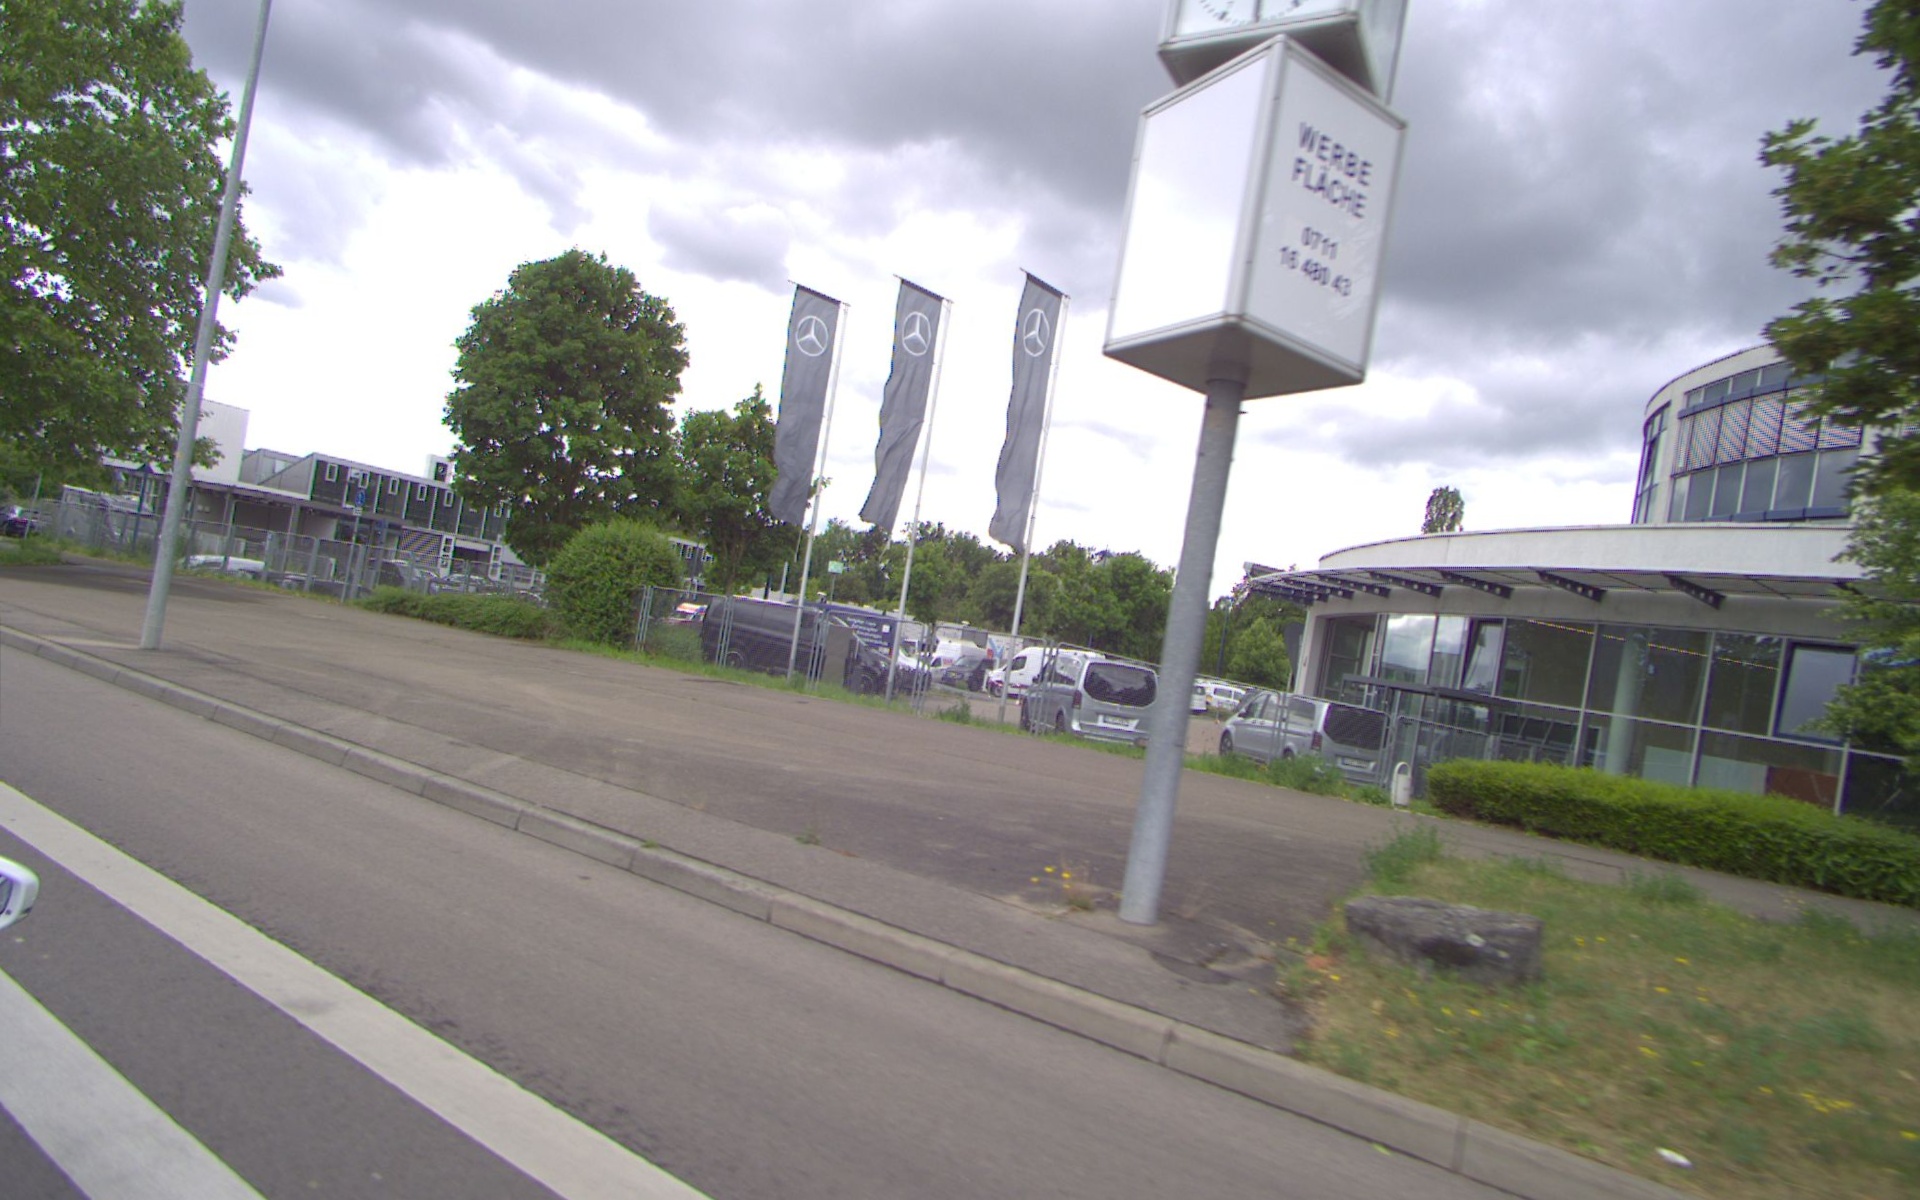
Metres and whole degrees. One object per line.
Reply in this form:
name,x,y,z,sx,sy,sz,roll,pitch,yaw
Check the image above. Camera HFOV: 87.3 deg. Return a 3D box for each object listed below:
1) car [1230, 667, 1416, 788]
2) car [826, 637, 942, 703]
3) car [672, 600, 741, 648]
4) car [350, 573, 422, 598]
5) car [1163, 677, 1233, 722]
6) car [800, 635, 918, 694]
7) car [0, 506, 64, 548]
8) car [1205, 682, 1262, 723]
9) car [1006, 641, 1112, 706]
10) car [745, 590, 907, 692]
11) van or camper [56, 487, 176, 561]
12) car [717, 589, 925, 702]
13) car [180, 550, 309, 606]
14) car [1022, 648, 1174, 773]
car,7.726,2.664,21.874,1.966,1.978,3.998,8,-2,-7
car,-2.662,2.468,35.382,3.528,1.776,1.629,7,-2,15
car,-16.766,1.631,66.726,1.706,2.596,4.111,7,-3,31
car,-35.986,-0.884,63.101,1.389,0.989,3.649,7,-3,31
car,13.867,5.793,58.490,1.974,2.035,3.984,7,-4,44
car,-3.208,2.077,32.489,3.530,1.365,1.628,8,-2,-1
car,-44.000,-3.479,47.165,4.272,1.524,1.716,7,-4,32
car,17.375,6.518,63.881,1.969,2.035,3.994,7,-4,36
car,4.710,3.498,47.866,4.351,2.340,2.010,3,-13,27
car,-3.933,1.231,30.204,4.347,2.352,2.001,8,-2,-1
van or camper,-41.188,-3.739,49.032,6.801,2.902,1.970,7,-1,29
car,-3.347,1.123,25.009,4.711,2.048,2.001,8,-2,-2
car,-28.882,-0.852,40.728,1.662,1.636,3.747,7,-3,27
car,2.768,2.210,21.200,1.966,2.048,3.998,8,-2,-7
